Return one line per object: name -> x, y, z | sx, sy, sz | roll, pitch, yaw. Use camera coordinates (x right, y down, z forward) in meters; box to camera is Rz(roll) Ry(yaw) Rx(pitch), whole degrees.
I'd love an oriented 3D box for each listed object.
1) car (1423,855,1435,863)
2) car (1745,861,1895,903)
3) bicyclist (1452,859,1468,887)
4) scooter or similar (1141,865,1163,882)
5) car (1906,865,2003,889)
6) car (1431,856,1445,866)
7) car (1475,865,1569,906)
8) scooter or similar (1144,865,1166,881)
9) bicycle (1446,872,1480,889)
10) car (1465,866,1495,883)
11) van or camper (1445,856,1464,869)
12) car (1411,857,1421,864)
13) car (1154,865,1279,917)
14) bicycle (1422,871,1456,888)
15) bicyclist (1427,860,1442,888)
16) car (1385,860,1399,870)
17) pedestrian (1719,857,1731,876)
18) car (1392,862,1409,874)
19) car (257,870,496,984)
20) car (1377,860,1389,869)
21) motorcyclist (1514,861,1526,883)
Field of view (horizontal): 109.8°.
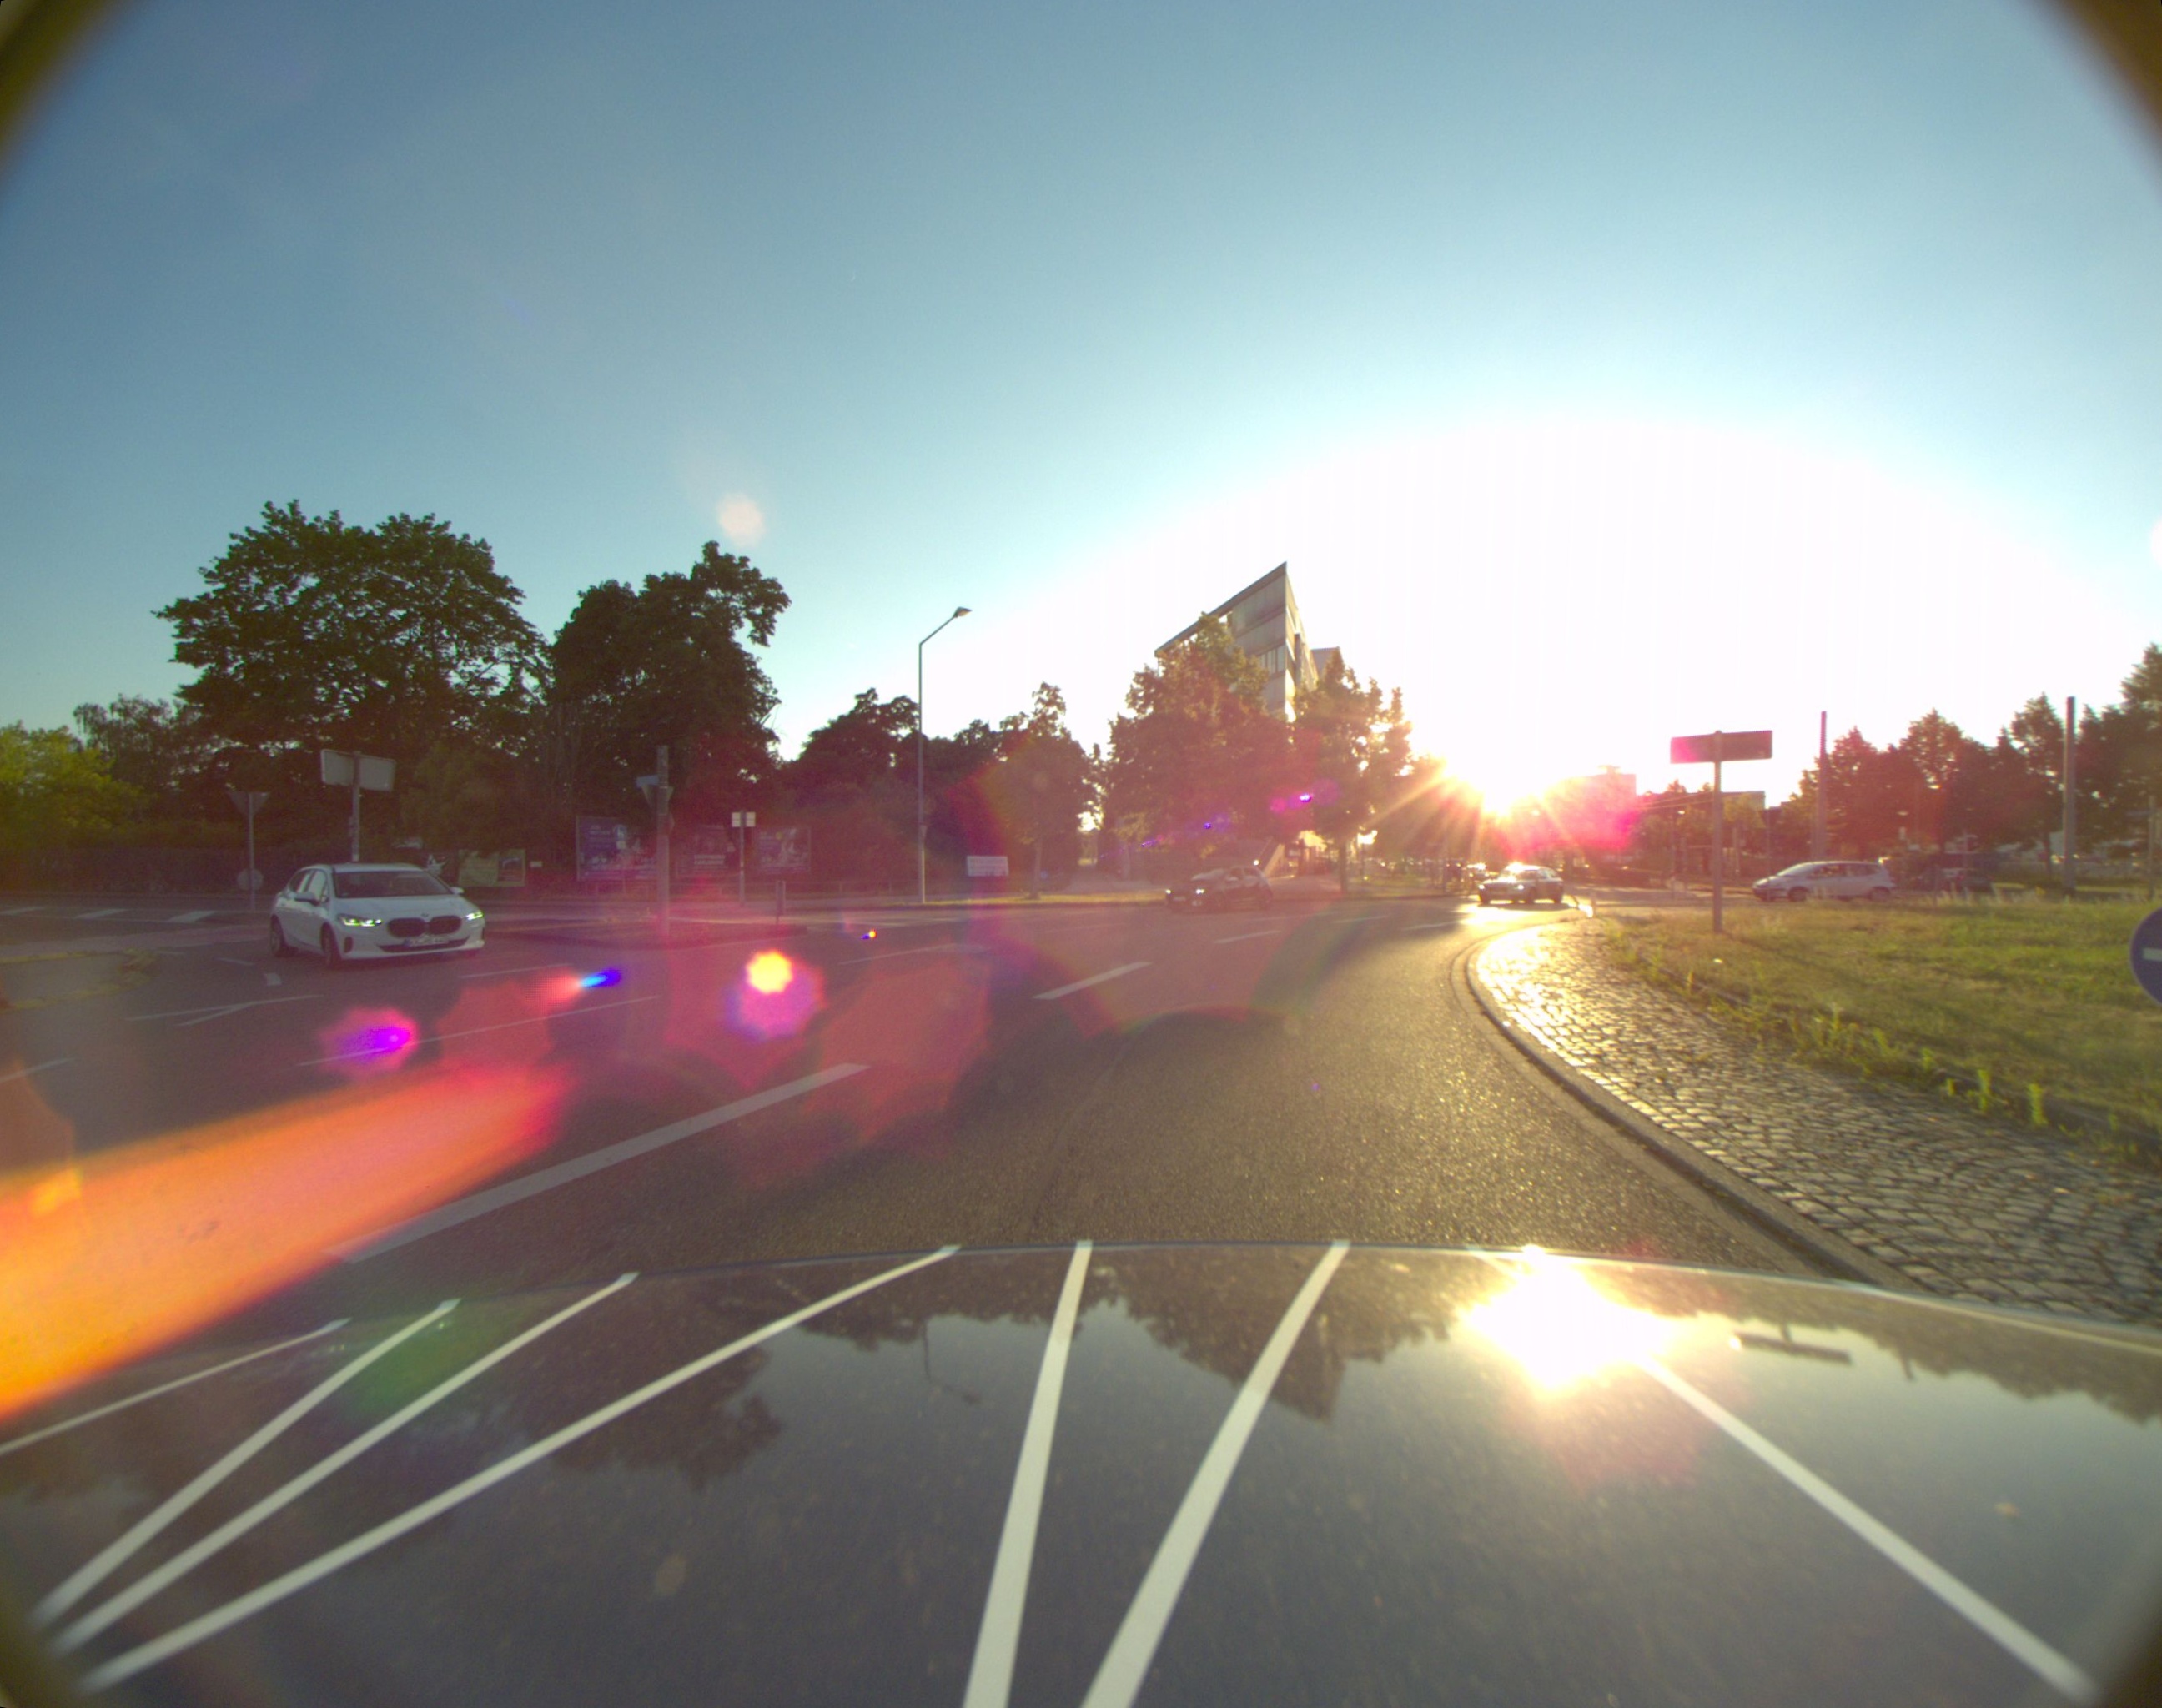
car -> 70.863, 0.980, 154.706 | 1.890, 1.613, 4.005 | 0, 0, 18
car -> 27.113, 1.007, 27.980 | 3.705, 1.457, 1.608 | 0, 0, 9
bicyclist -> 23.392, 1.172, 46.888 | 0.847, 1.745, 0.805 | 0, 0, 27
scooter or similar -> 5.195, 1.406, 55.477 | 1.573, 1.213, 0.367 | 0, 0, 30
car -> 55.554, 1.414, 48.474 | 1.927, 1.407, 4.658 | 0, 0, 18
car -> 64.377, 1.286, 136.914 | 1.716, 1.827, 4.005 | 0, 0, 17
car -> 16.829, 1.148, 28.918 | 4.458, 1.414, 1.798 | 0, 0, -42
scooter or similar -> 5.458, 1.391, 55.901 | 1.573, 1.213, 0.367 | 0, 0, 30
bicycle -> 23.701, 1.650, 47.129 | 1.858, 1.016, 0.438 | 0, 0, 28
car -> 37.093, 1.856, 70.750 | 1.888, 1.472, 4.057 | 0, 0, 20
van or camper -> 56.900, 1.315, 115.718 | 1.995, 1.946, 5.336 | 0, 0, 20
car -> 73.844, 1.486, 167.724 | 1.799, 1.455, 4.006 | 0, 0, 20
car -> 4.283, 1.091, 23.745 | 4.009, 1.455, 1.798 | 0, 0, -43
bicycle -> 21.556, 1.521, 45.750 | 1.860, 1.016, 0.308 | 0, 0, 11
bicyclist -> 21.338, 1.199, 45.876 | 0.683, 1.638, 0.684 | 0, 0, 11
car -> 45.113, 1.538, 110.185 | 1.799, 1.455, 4.006 | 0, 0, 20
pedestrian -> 57.188, 1.120, 67.480 | 0.707, 1.623, 0.447 | 0, 0, 18
car -> 40.011, 1.760, 95.187 | 1.799, 1.455, 4.006 | 0, 0, 20
car -> -11.677, 1.065, 12.546 | 4.084, 1.549, 1.895 | 0, 0, 32
car -> 50.140, 1.761, 126.242 | 1.799, 1.455, 4.006 | 0, 0, 20
motorcyclist -> 28.397, 1.169, 49.197 | 0.634, 1.400, 0.595 | 0, 1, 26
